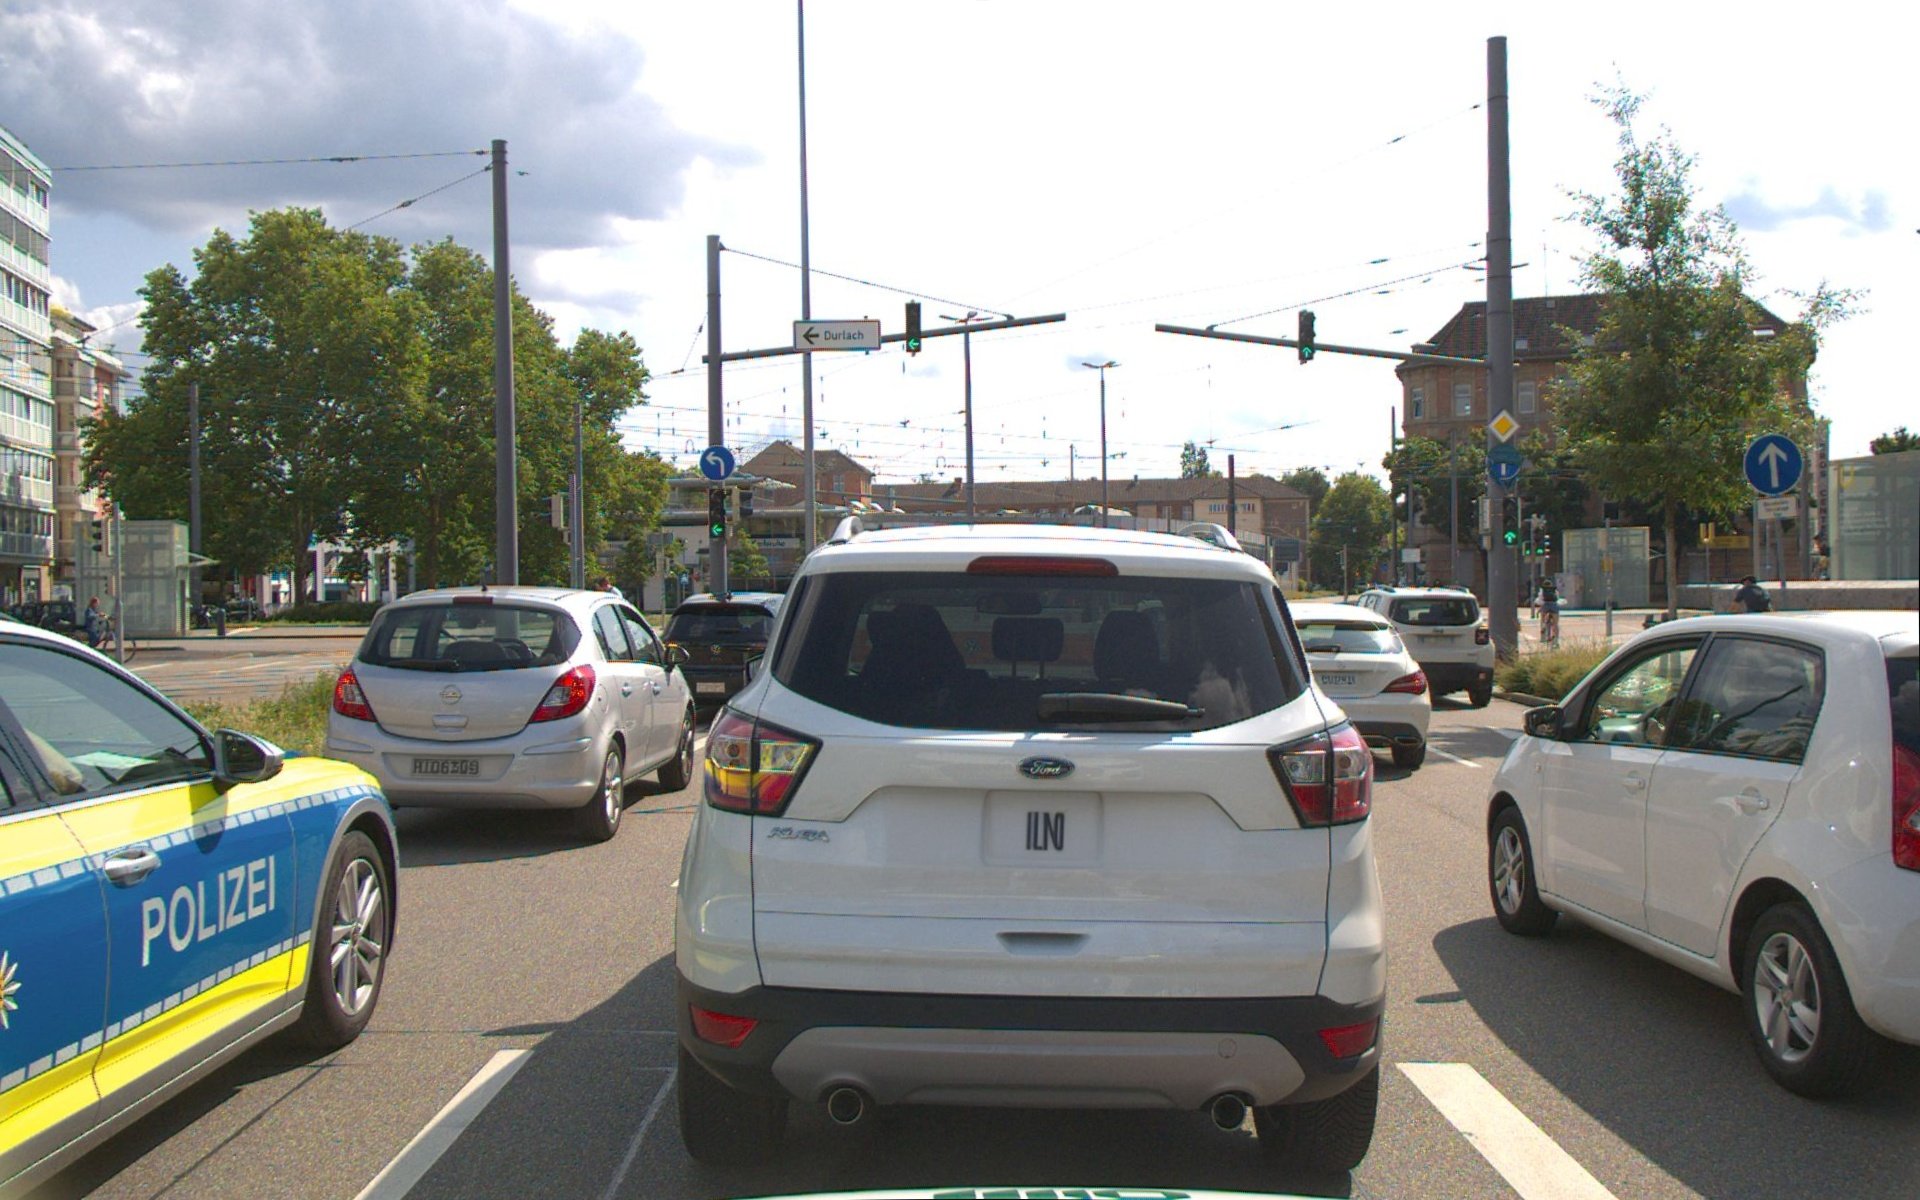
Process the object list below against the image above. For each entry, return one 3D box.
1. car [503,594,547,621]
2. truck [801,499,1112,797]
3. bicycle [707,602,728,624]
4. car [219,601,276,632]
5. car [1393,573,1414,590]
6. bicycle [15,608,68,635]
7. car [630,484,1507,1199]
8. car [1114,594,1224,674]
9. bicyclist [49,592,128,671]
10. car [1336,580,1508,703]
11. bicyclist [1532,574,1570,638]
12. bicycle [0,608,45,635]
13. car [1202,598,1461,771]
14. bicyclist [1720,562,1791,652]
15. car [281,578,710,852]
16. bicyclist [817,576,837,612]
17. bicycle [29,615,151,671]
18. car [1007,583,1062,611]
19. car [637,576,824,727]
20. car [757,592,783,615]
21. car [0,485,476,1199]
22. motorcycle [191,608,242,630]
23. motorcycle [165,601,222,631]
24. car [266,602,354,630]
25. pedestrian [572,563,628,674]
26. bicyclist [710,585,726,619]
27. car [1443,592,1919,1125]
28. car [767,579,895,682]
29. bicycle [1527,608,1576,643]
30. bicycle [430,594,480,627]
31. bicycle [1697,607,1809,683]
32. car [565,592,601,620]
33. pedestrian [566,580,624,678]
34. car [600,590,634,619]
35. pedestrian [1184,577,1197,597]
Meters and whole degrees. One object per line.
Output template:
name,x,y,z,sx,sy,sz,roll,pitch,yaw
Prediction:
car,-32.719,0.577,124.535,1.928,1.971,5.067,-2,-1,-1
truck,0.119,0.348,15.201,2.290,2.193,5.854,-1,0,3
bicycle,-12.816,0.686,87.420,0.630,1.145,1.769,-1,1,-26
car,-35.664,0.839,82.894,1.872,1.438,3.987,-1,-1,-12
car,45.491,-1.867,169.760,1.798,1.681,4.001,0,0,19
bicycle,-40.694,0.954,73.300,1.914,1.167,0.792,-1,0,-19
car,0.311,0.612,5.378,1.789,1.693,3.957,0,0,3
car,3.937,0.610,31.640,1.811,1.443,3.680,0,0,3
bicyclist,-20.104,0.724,38.174,1.271,1.761,0.994,-1,0,-3
car,6.816,0.578,24.798,1.797,1.681,4.002,0,0,5
bicyclist,13.788,0.132,38.593,0.595,1.476,0.774,-1,0,0
bicycle,-40.940,0.930,71.993,1.776,1.167,0.792,-1,0,-19
car,3.384,0.707,15.717,1.811,1.443,3.680,0,0,3
bicyclist,11.470,0.089,23.876,0.621,1.241,0.924,-3,1,7
car,-2.887,0.632,11.212,1.810,1.500,3.999,-1,0,-1
bicyclist,-6.447,-0.305,80.160,0.743,1.712,0.761,-2,0,14
bicycle,-20.048,0.978,38.165,2.248,1.209,0.994,-2,0,-4
car,4.240,-0.206,93.746,1.860,1.487,3.969,-2,0,21
car,-2.621,0.542,19.816,1.727,1.595,4.525,0,0,-2
car,-13.971,0.266,121.769,1.783,1.560,3.913,-2,-1,-5
car,-2.623,0.603,3.563,1.842,1.595,4.614,-1,0,-1
motorcycle,-34.302,0.871,76.313,0.795,0.933,2.037,0,1,36
motorcycle,-33.136,0.683,71.488,2.165,1.259,0.906,-1,1,17
car,-33.801,0.841,86.063,3.907,1.350,1.632,-2,-1,-3
pedestrian,-6.459,0.331,29.697,0.830,1.950,0.692,-1,-1,-1
bicyclist,-12.777,0.100,87.317,0.630,1.768,0.656,0,1,-27
car,3.345,0.707,6.550,1.616,1.446,3.999,1,0,-1
car,-2.116,0.466,28.119,1.999,1.606,4.537,0,0,-3
bicycle,13.807,0.588,38.635,0.572,0.789,1.621,-1,0,1
bicycle,-22.777,0.462,74.574,2.133,1.439,0.809,0,1,-16
bicycle,11.488,0.627,24.024,0.829,0.987,1.962,-3,0,7
car,-28.133,0.469,123.458,1.929,1.971,4.226,-2,-1,-5
pedestrian,-6.357,0.505,28.846,0.830,1.676,0.692,-1,-1,-1
car,-25.527,0.342,123.243,1.955,2.049,4.226,-2,-1,-5
pedestrian,20.262,-1.162,145.235,0.860,1.767,0.873,1,-1,35
